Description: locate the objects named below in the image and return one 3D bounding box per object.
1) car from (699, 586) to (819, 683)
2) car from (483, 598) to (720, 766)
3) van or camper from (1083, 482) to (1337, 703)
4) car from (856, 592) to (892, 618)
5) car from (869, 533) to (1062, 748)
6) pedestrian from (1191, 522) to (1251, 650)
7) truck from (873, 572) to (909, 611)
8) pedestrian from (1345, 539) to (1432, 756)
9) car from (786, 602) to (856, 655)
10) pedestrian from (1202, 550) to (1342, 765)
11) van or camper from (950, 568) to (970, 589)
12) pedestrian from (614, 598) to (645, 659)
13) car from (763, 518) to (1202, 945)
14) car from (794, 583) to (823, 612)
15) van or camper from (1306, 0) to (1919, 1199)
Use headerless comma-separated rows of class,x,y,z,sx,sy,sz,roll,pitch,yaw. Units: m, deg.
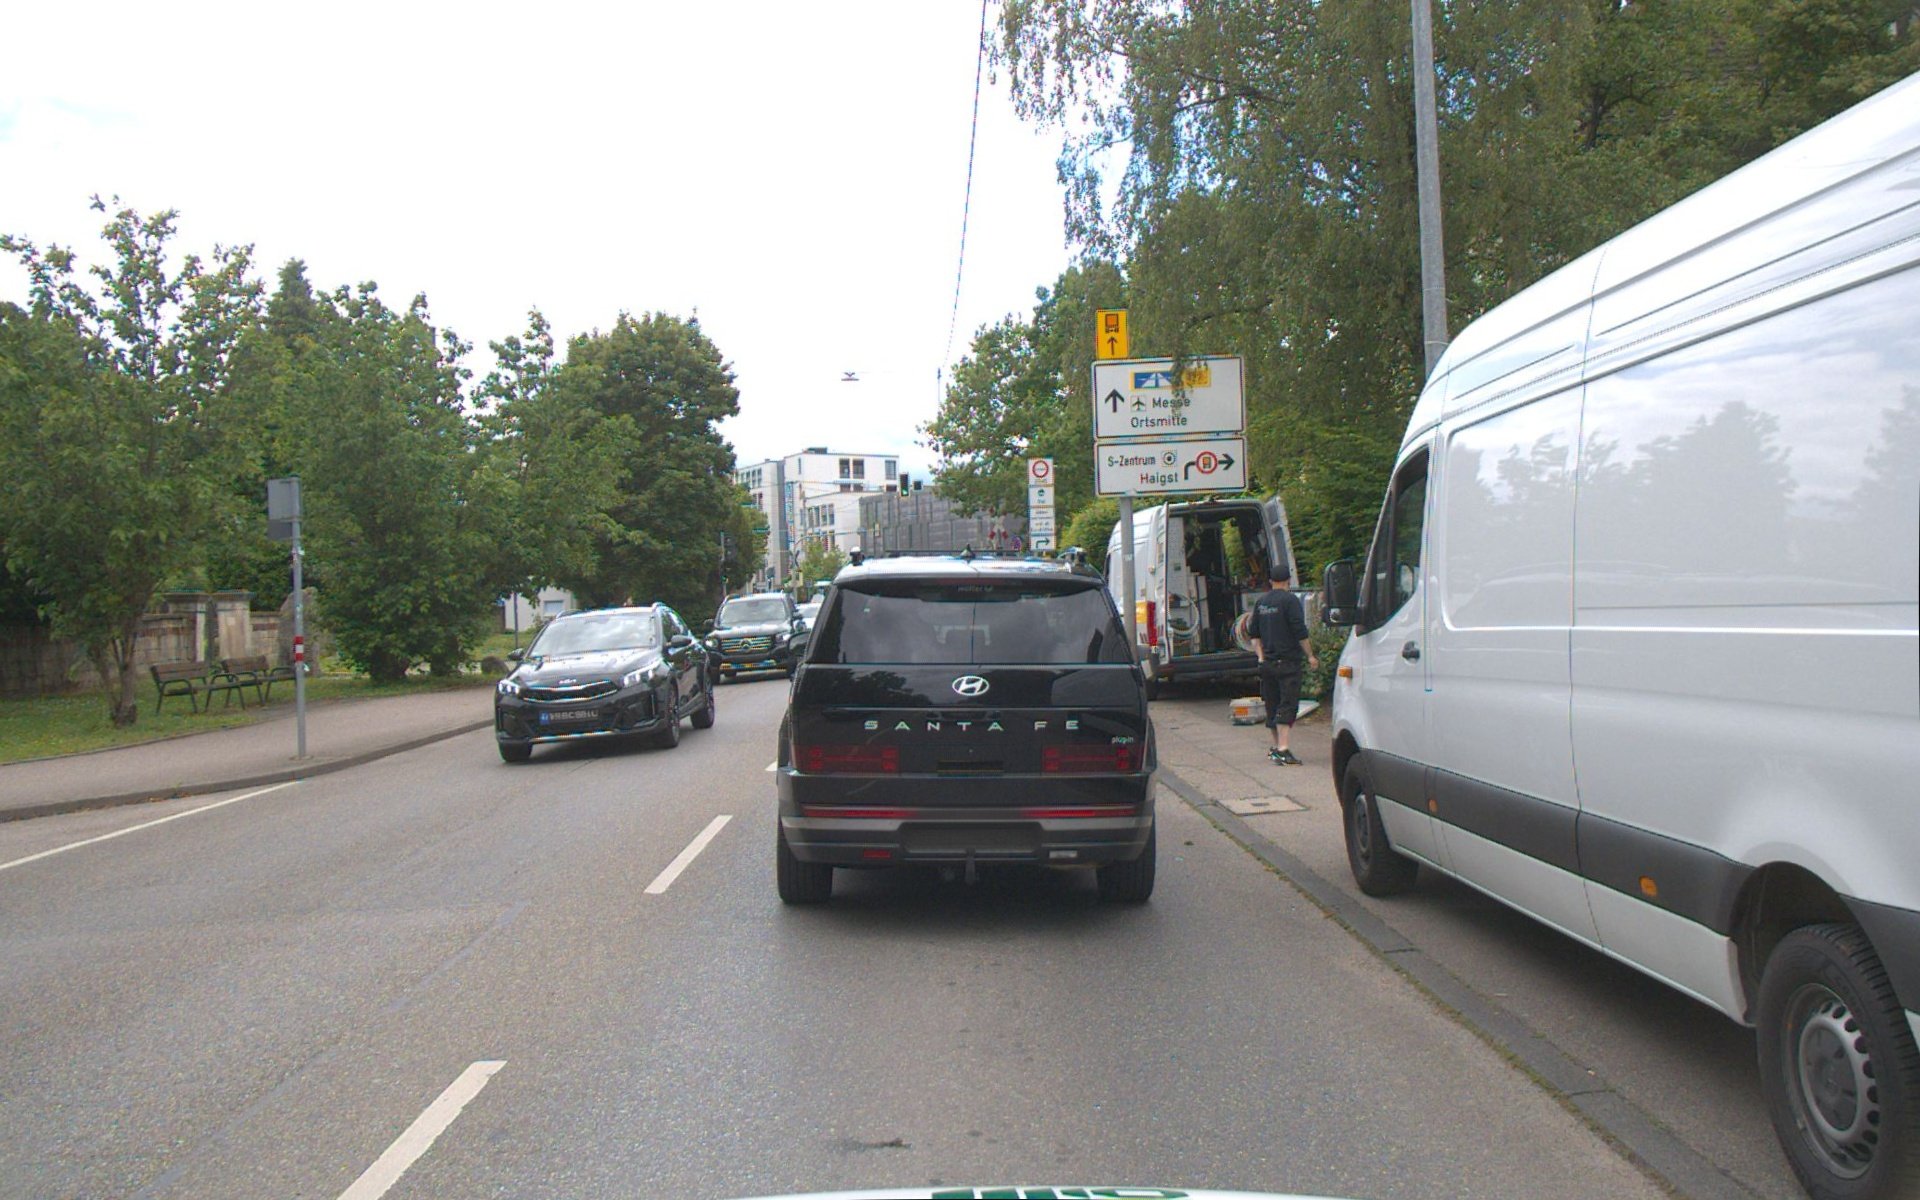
car,-3.926,0.648,32.933,1.842,1.673,4.127,-4,0,-1
car,-3.751,0.796,17.971,1.666,1.509,3.999,-4,0,-1
van or camper,3.342,-0.053,23.780,2.294,2.537,6.600,-5,-1,-2
car,-5.365,0.297,103.891,1.799,1.565,4.269,-2,0,3
car,0.027,0.403,18.245,1.858,2.077,3.993,1,0,-1
pedestrian,3.554,-0.184,22.577,0.721,1.672,0.802,-3,-1,8
truck,-7.279,-0.856,172.881,3.048,3.926,9.607,-2,0,-6
pedestrian,3.639,0.401,14.026,0.634,1.782,0.655,-2,-1,17
car,-4.308,0.854,51.825,1.778,1.443,4.827,-5,0,-1
pedestrian,2.684,0.483,14.227,0.784,1.750,0.742,-4,0,-37
van or camper,-0.037,-2.192,170.968,1.760,2.033,3.820,1,0,-4
pedestrian,-9.800,0.827,49.020,0.751,1.779,0.904,0,0,-1
car,0.074,0.573,9.120,1.858,1.807,3.993,1,0,-1
car,-13.075,-0.210,142.320,2.288,2.356,4.950,-2,0,-7
van or camper,2.940,0.060,5.458,1.951,2.670,6.543,-4,0,-1
